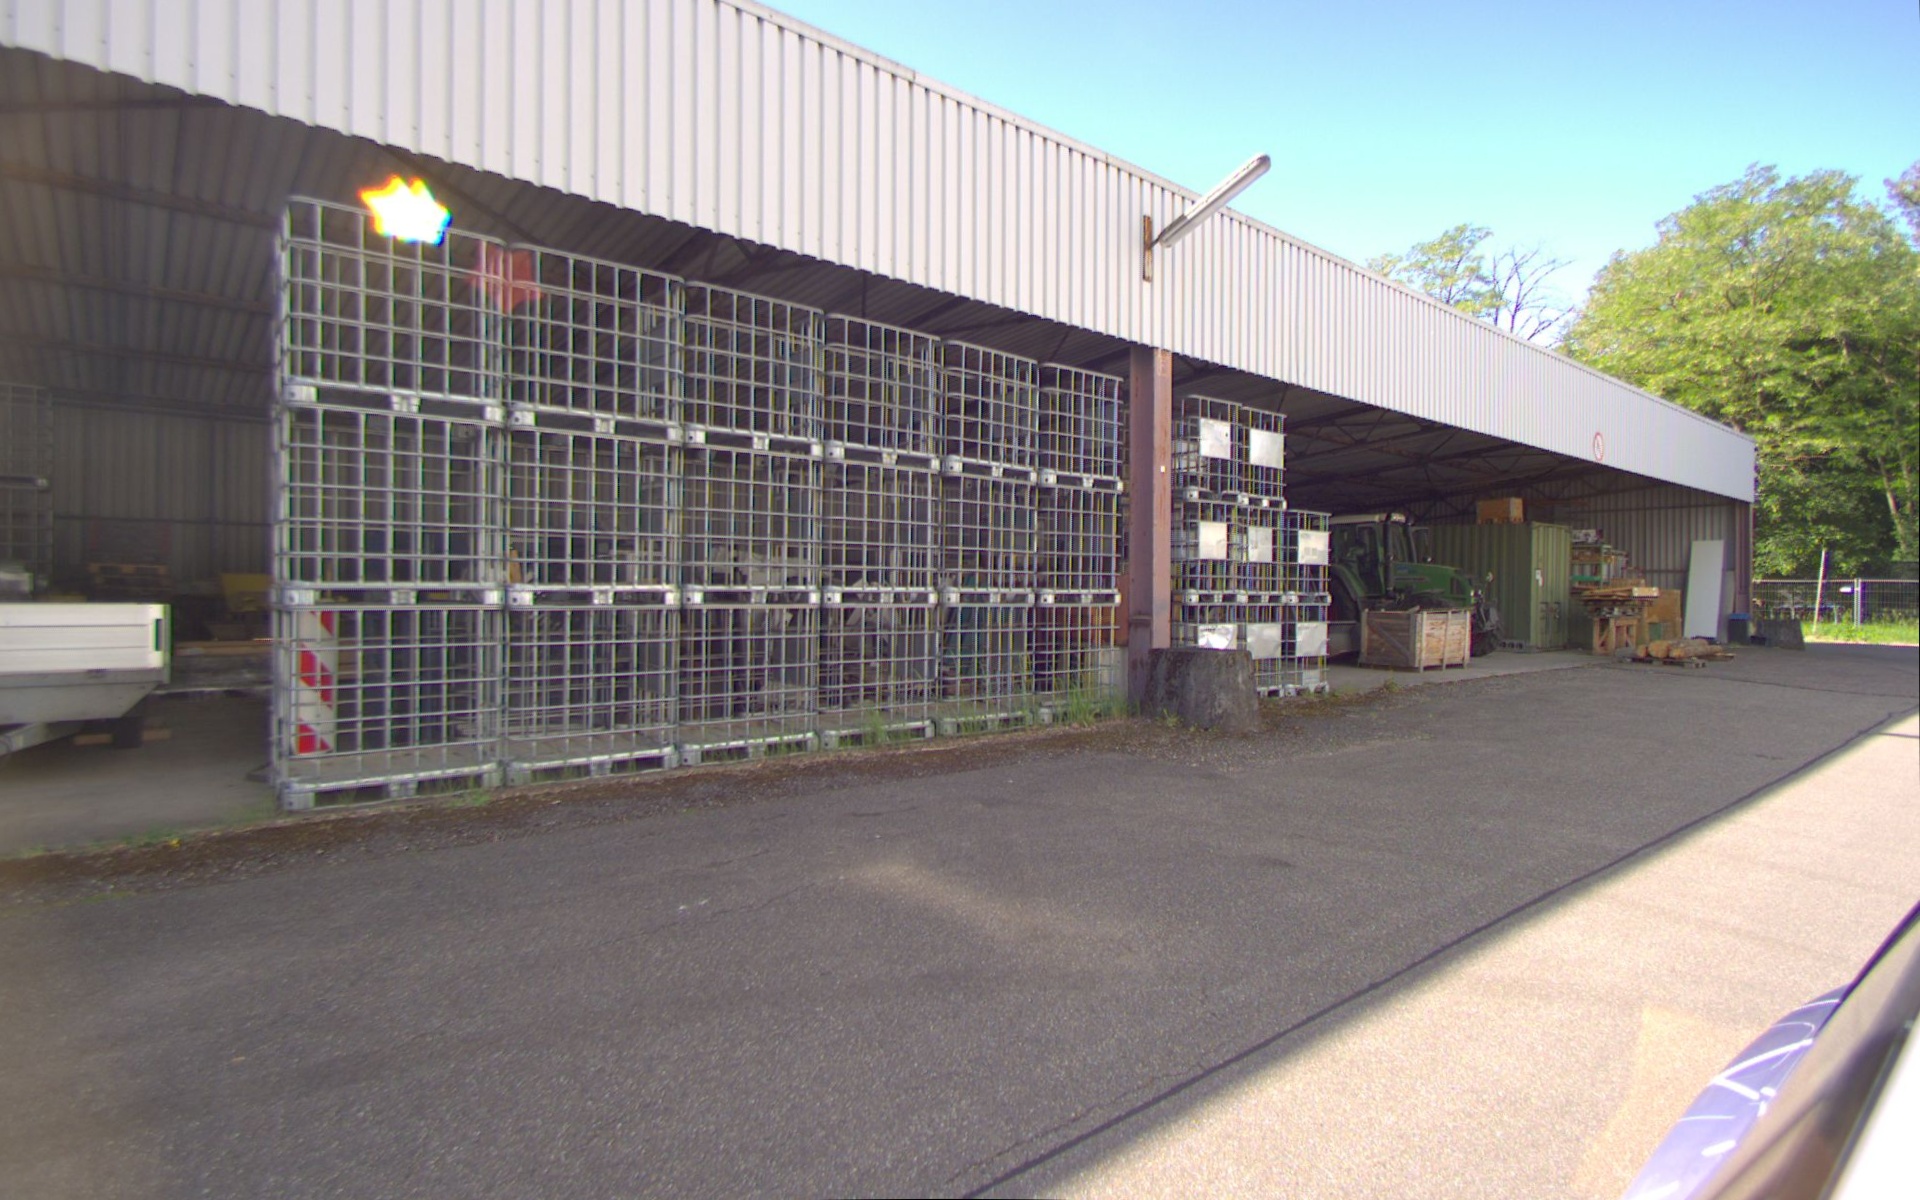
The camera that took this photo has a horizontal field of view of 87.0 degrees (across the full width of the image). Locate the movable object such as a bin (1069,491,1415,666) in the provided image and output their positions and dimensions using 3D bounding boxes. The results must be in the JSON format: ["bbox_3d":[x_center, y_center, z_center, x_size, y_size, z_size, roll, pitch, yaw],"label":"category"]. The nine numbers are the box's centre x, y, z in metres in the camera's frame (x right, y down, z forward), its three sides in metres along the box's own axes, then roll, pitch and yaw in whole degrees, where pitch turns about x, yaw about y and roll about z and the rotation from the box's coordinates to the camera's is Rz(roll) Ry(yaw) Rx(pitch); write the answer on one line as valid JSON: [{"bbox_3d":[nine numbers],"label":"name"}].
[{"bbox_3d":[5.429,-0.395,20.381,2.962,2.947,6.199,0,0,-39],"label":"movable object such as a bin"}]

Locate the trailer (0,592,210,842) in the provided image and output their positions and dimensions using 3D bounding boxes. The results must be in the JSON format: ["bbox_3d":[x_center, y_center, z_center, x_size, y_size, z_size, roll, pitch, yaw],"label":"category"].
[{"bbox_3d":[-6.753,0.547,6.937,2.104,1.147,5.857,0,1,-41],"label":"trailer"}]

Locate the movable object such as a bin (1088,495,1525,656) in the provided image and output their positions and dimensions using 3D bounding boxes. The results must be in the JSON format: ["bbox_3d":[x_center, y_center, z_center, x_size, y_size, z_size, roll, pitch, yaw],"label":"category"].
[{"bbox_3d":[7.366,-0.486,23.129,3.154,2.947,9.213,0,0,-39],"label":"movable object such as a bin"}]
